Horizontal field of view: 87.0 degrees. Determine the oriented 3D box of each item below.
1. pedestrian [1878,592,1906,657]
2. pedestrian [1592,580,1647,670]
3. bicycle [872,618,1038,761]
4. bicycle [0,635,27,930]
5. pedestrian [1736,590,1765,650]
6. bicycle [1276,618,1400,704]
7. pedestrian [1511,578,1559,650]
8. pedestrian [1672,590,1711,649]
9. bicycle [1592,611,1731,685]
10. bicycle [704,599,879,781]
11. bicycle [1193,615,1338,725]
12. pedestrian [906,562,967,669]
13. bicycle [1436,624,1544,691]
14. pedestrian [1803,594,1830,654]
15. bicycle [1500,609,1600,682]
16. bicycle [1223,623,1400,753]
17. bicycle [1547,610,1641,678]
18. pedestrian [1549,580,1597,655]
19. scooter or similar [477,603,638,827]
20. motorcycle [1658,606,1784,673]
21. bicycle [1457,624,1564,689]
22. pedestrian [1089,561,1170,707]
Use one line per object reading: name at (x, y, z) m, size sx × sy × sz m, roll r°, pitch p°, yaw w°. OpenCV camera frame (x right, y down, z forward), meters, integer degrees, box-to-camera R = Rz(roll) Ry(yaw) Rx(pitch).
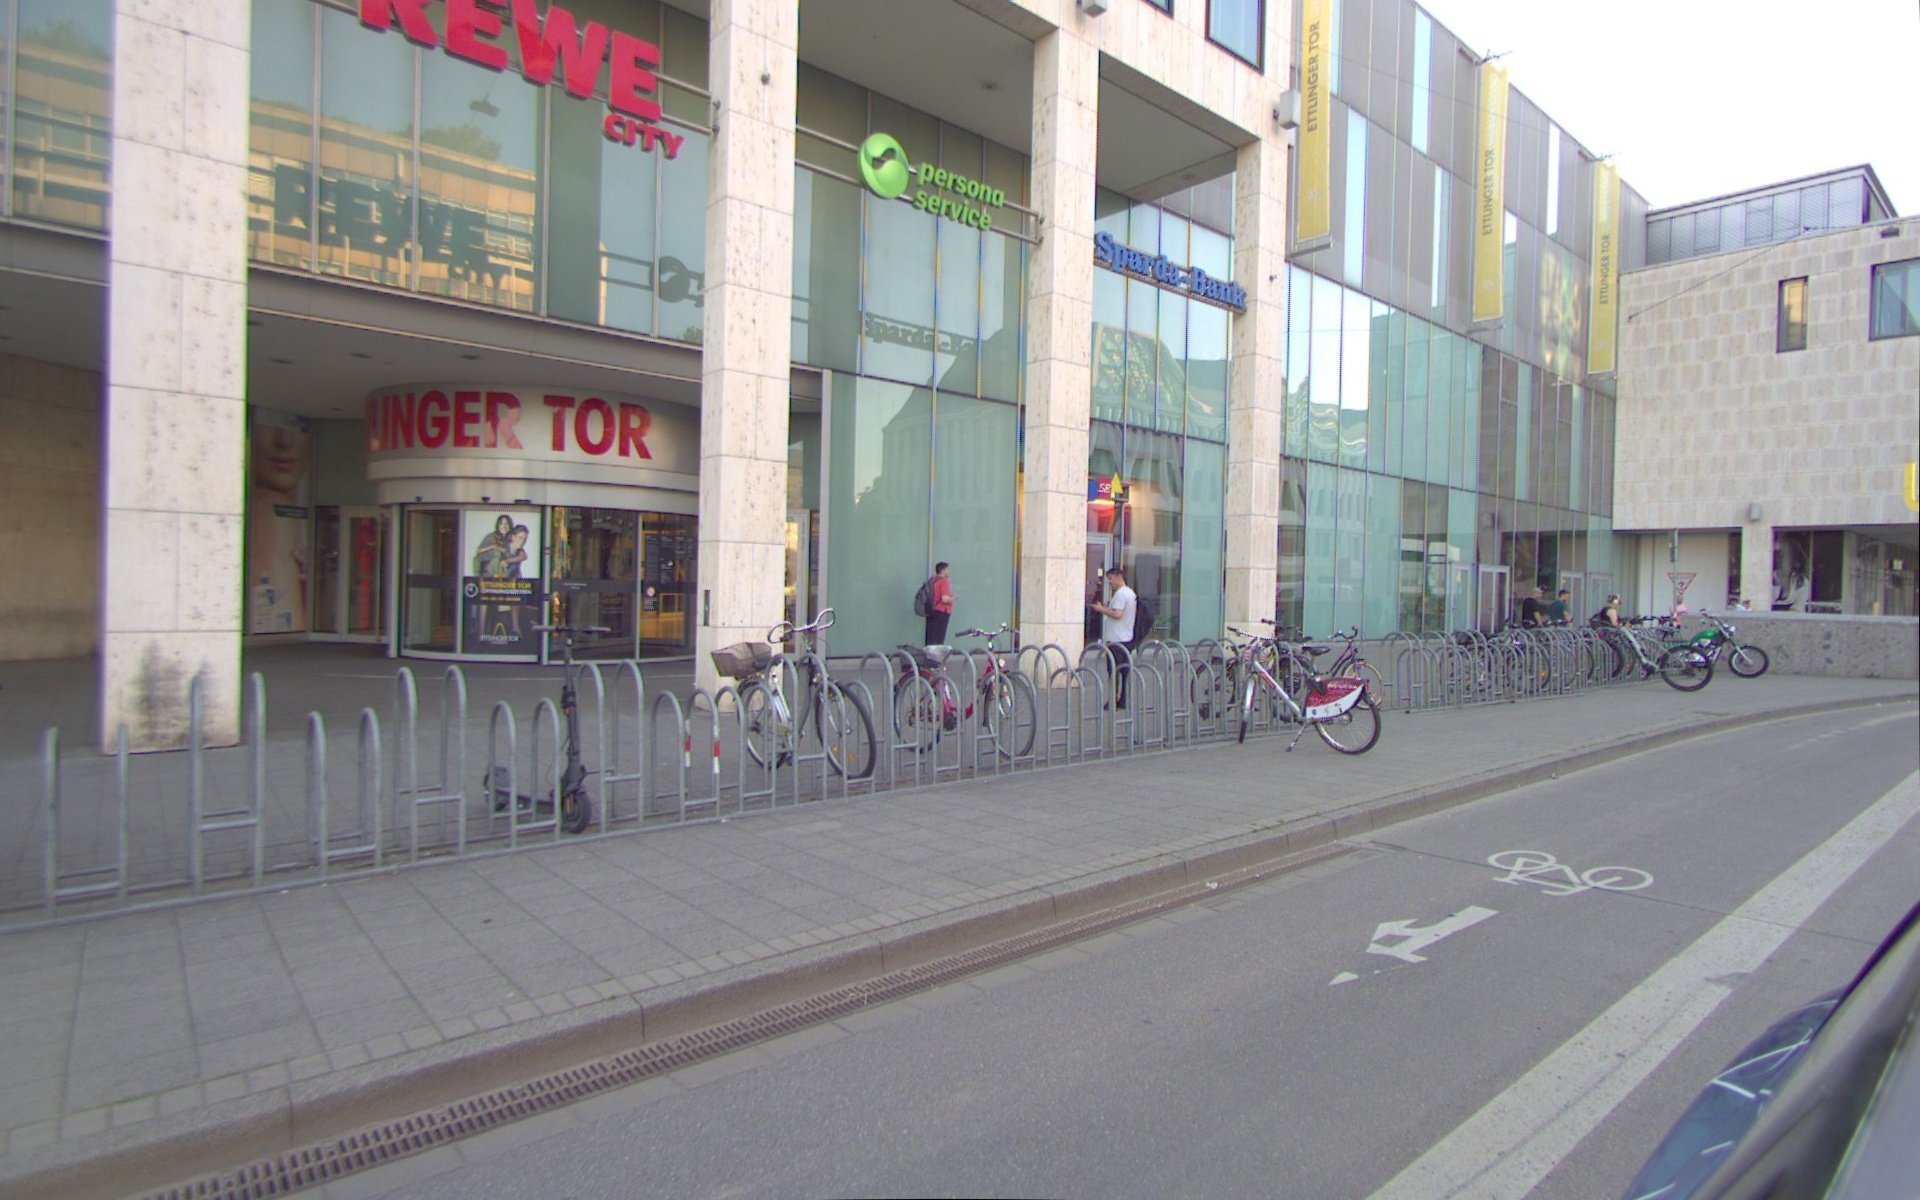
pedestrian at (25.568, 0.658, 27.768) m, size 0.483 × 1.765 × 0.455 m, roll 1°, pitch 1°, yaw -38°
pedestrian at (12.687, 0.460, 19.486) m, size 0.802 × 1.663 × 0.640 m, roll 2°, pitch 1°, yaw 31°
bicycle at (-0.073, 0.712, 8.671) m, size 0.543 × 1.120 × 1.516 m, roll 1°, pitch -2°, yaw -43°
bicycle at (-4.553, 0.729, 4.478) m, size 1.768 × 1.092 × 0.475 m, roll 3°, pitch 1°, yaw 43°
pedestrian at (23.780, 0.592, 30.442) m, size 0.644 × 1.765 × 0.494 m, roll 1°, pitch 1°, yaw -38°
bicycle at (5.014, 0.779, 13.450) m, size 1.439 × 1.078 × 0.572 m, roll -1°, pitch -2°, yaw 39°
pedestrian at (13.776, 0.328, 24.248) m, size 0.806 × 1.668 × 0.740 m, roll 1°, pitch 1°, yaw -40°
pedestrian at (22.639, 0.590, 31.341) m, size 0.644 × 1.765 × 0.794 m, roll 1°, pitch 1°, yaw -38°
bicycle at (11.567, 0.773, 16.745) m, size 0.458 × 1.161 × 1.837 m, roll 1°, pitch -2°, yaw -39°
bicycle at (-1.305, 0.623, 7.668) m, size 0.607 × 1.243 × 1.517 m, roll 1°, pitch -2°, yaw -41°
bicycle at (3.380, 0.740, 11.311) m, size 0.569 × 1.138 × 1.519 m, roll 1°, pitch -2°, yaw -36°
pedestrian at (-0.380, 0.241, 16.244) m, size 0.695 × 1.672 × 0.629 m, roll 1°, pitch 1°, yaw -40°
bicycle at (7.947, 0.841, 15.207) m, size 0.509 × 0.944 × 1.344 m, roll 1°, pitch -2°, yaw -41°
pedestrian at (25.545, 0.708, 30.181) m, size 0.483 × 1.765 × 0.504 m, roll 1°, pitch 1°, yaw -38°
bicycle at (9.833, 0.736, 16.896) m, size 0.509 × 1.179 × 1.344 m, roll 1°, pitch -2°, yaw -41°
bicycle at (3.172, 0.758, 9.248) m, size 0.458 × 1.077 × 1.518 m, roll 1°, pitch -2°, yaw -39°
bicycle at (11.396, 0.769, 18.220) m, size 0.509 × 1.179 × 1.344 m, roll 1°, pitch -2°, yaw -41°
pedestrian at (14.383, 0.399, 23.750) m, size 0.805 × 1.717 × 0.698 m, roll 1°, pitch 1°, yaw -39°
scooter or similar at (-2.517, 0.649, 6.276) m, size 0.484 × 1.214 × 1.194 m, roll 1°, pitch 1°, yaw -44°
motorcycle at (15.581, 0.790, 20.766) m, size 0.472 × 1.239 × 2.004 m, roll 1°, pitch 1°, yaw -43°
bicycle at (8.457, 0.854, 15.586) m, size 0.509 × 0.944 × 1.344 m, roll 1°, pitch -2°, yaw -41°
pedestrian at (2.048, 0.388, 12.269) m, size 0.618 × 1.713 × 0.707 m, roll 1°, pitch 1°, yaw -39°
